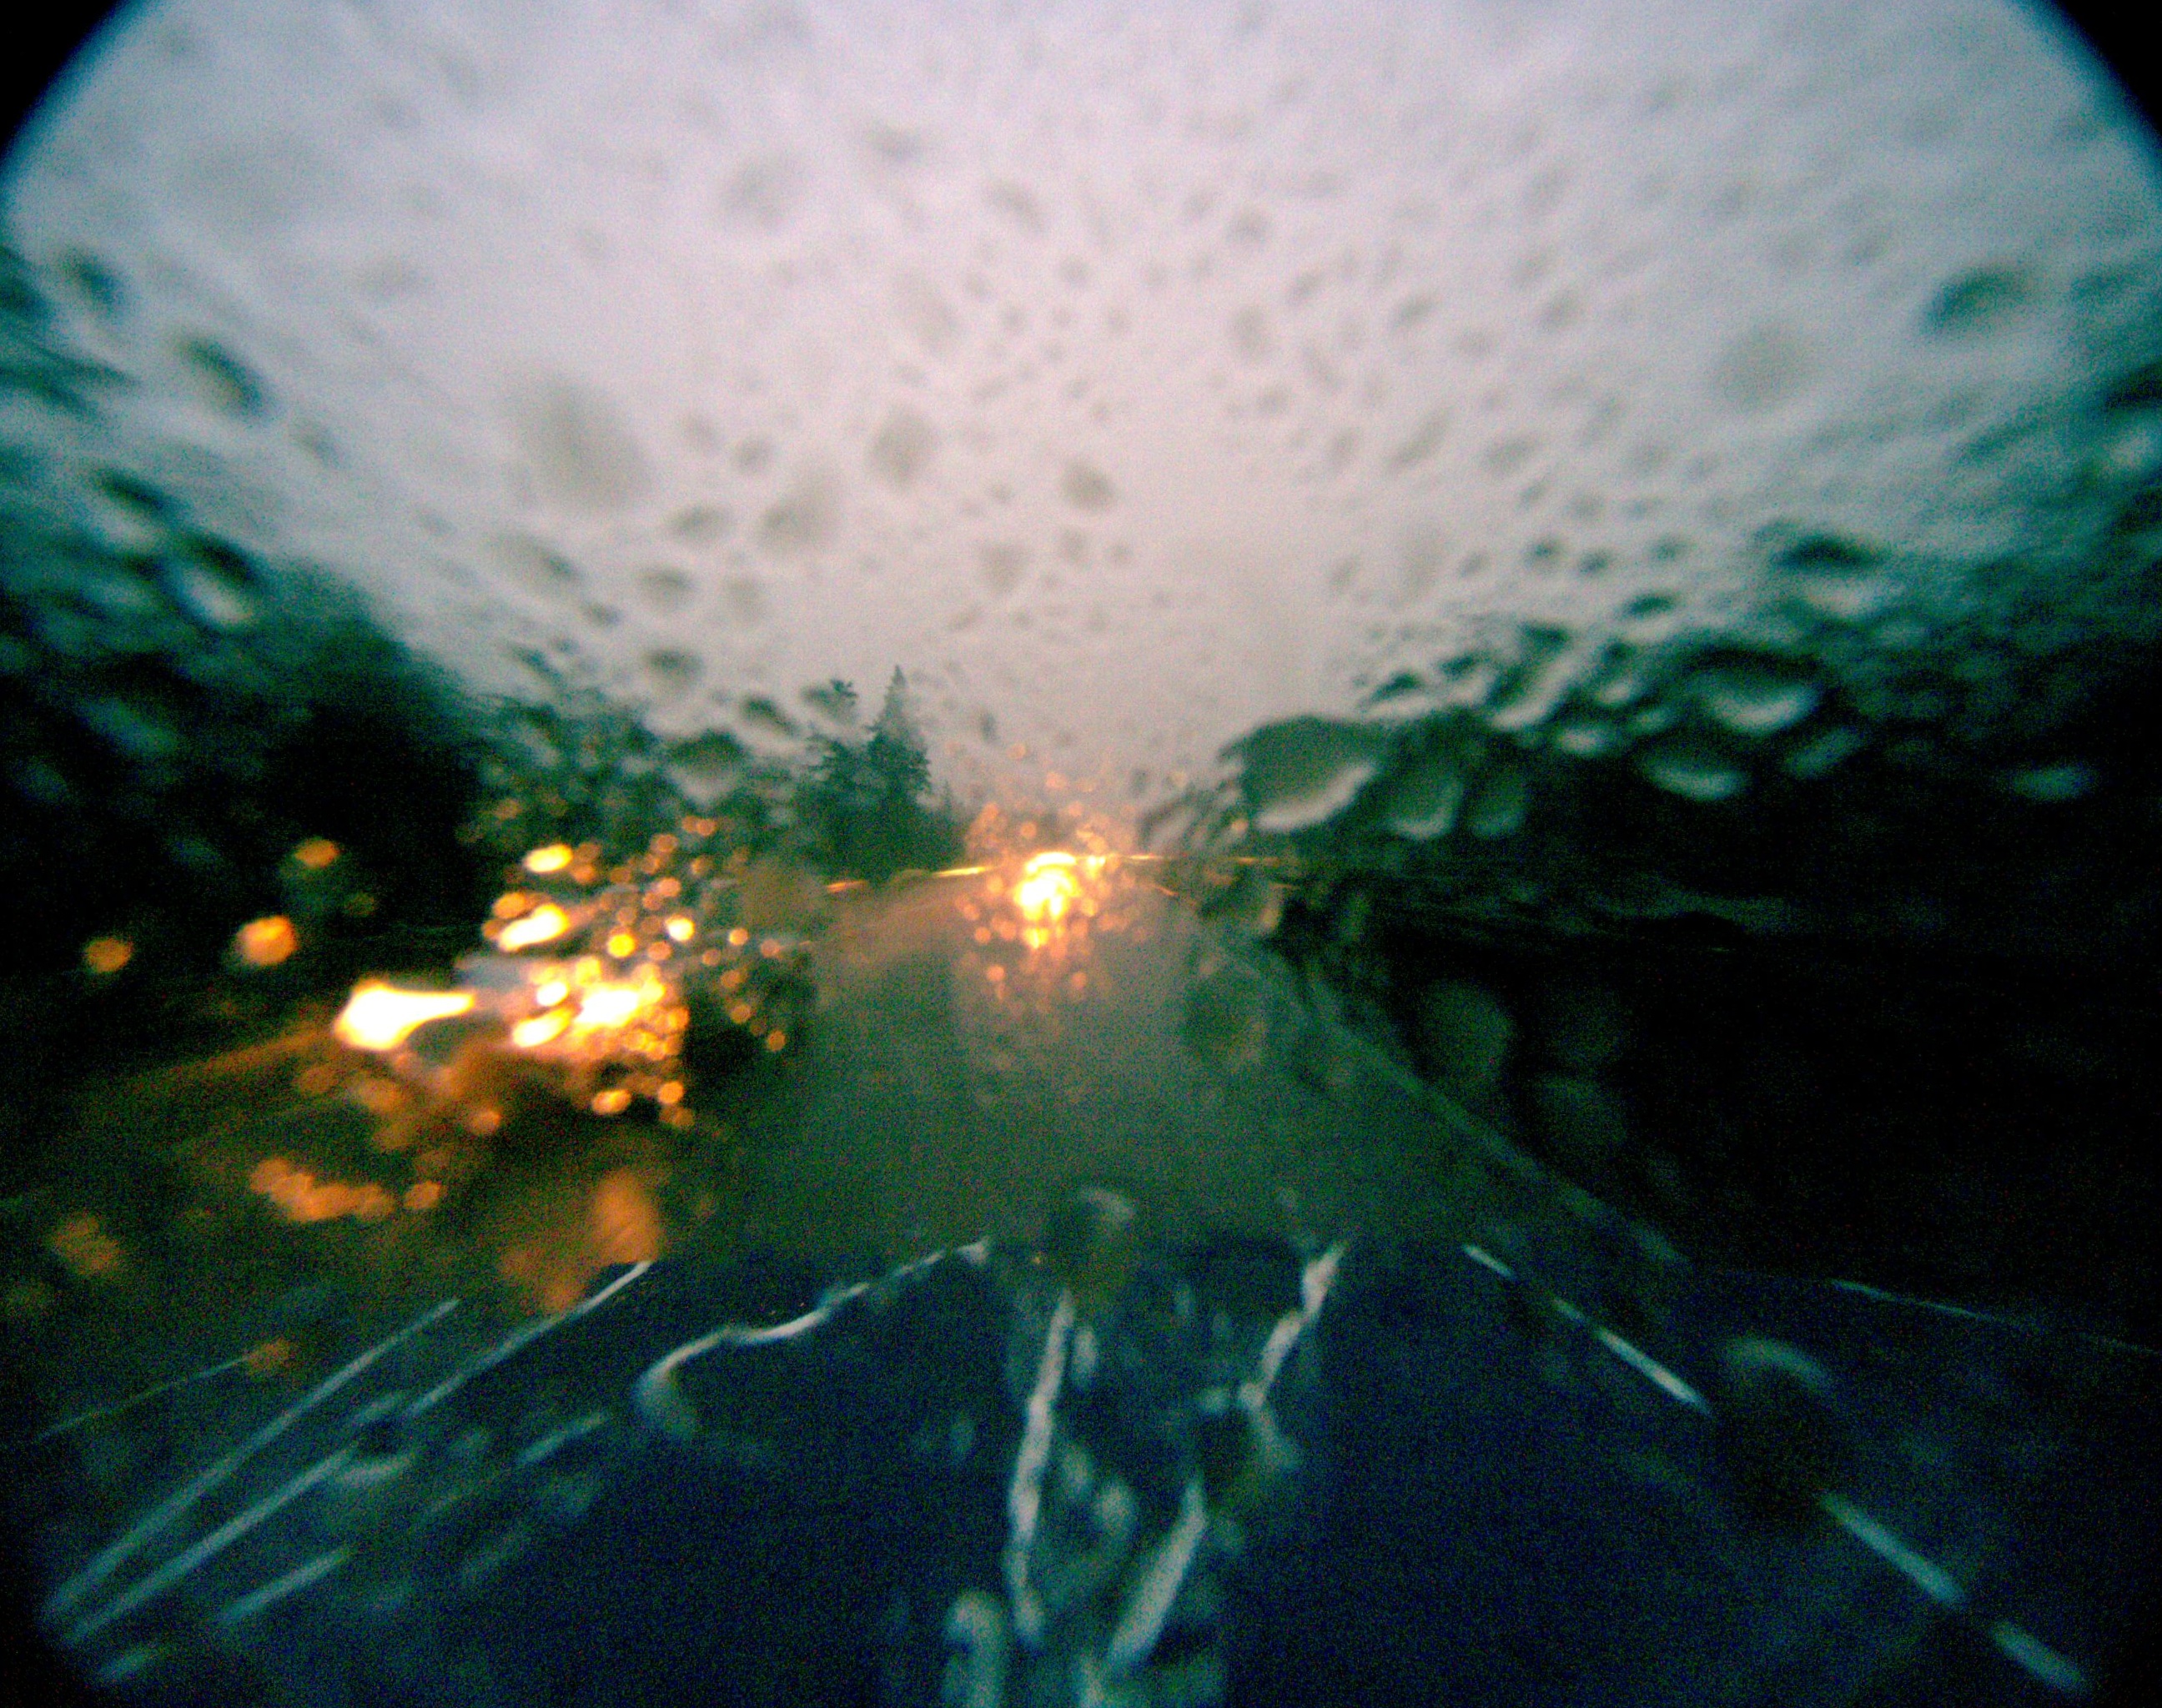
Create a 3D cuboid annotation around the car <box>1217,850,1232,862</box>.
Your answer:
[{"bbox_3d":[19.097,0.218,101.116,1.531,1.408,3.753,-2,1,5],"label":"car"}]

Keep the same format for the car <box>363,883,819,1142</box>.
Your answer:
[{"bbox_3d":[-3.547,1.030,6.285,1.603,1.358,3.304,-2,1,-1],"label":"car"}]

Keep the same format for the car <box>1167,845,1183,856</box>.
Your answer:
[{"bbox_3d":[13.210,-0.476,107.259,1.757,1.476,4.721,-2,1,1],"label":"car"}]

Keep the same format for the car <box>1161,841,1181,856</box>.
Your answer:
[{"bbox_3d":[9.851,-0.617,83.342,1.683,1.569,4.421,-2,1,1],"label":"car"}]

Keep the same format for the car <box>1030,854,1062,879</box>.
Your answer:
[{"bbox_3d":[-2.212,0.772,48.877,1.741,1.441,3.999,-2,1,1],"label":"car"}]

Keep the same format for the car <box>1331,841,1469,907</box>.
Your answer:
[{"bbox_3d":[8.501,0.492,20.742,1.838,1.540,4.529,-2,0,0],"label":"car"}]

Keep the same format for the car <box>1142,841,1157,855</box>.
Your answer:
[{"bbox_3d":[10.717,-0.944,119.437,1.998,2.118,4.572,-2,1,1],"label":"car"}]
